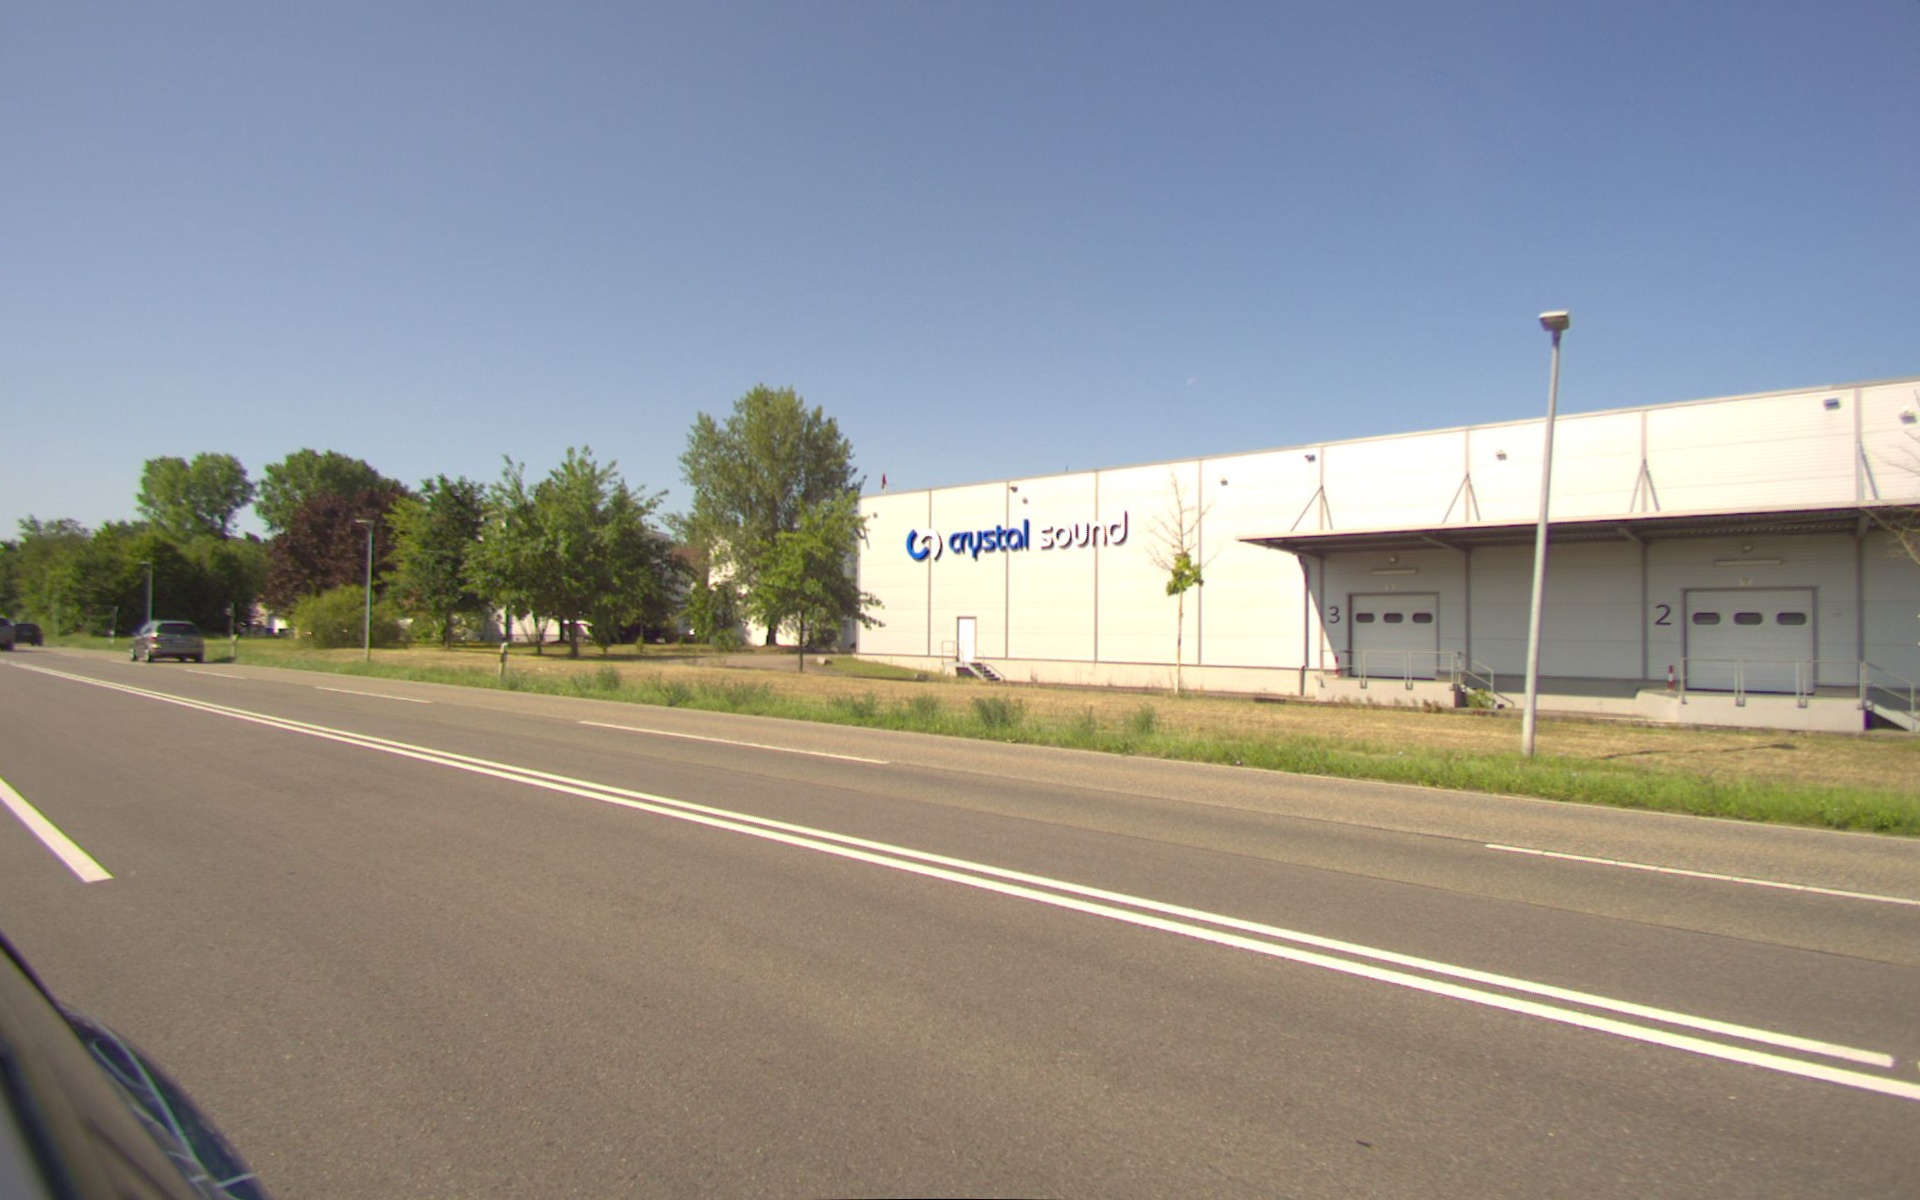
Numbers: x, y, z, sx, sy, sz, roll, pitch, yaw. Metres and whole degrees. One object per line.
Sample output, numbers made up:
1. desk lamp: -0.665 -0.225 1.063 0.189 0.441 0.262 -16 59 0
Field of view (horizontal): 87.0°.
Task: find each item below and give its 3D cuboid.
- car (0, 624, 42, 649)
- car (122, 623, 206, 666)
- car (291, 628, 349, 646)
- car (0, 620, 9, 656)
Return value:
1. car: -60.228 2.325 64.700 4.737 1.492 1.635 -1 -4 41
2. car: -30.512 1.689 38.756 4.213 1.573 1.711 -1 -4 41
3. car: -52.612 3.074 83.327 1.803 1.381 3.986 -1 -3 11
4. car: -47.888 1.806 49.316 4.568 1.727 1.753 -1 -4 42
